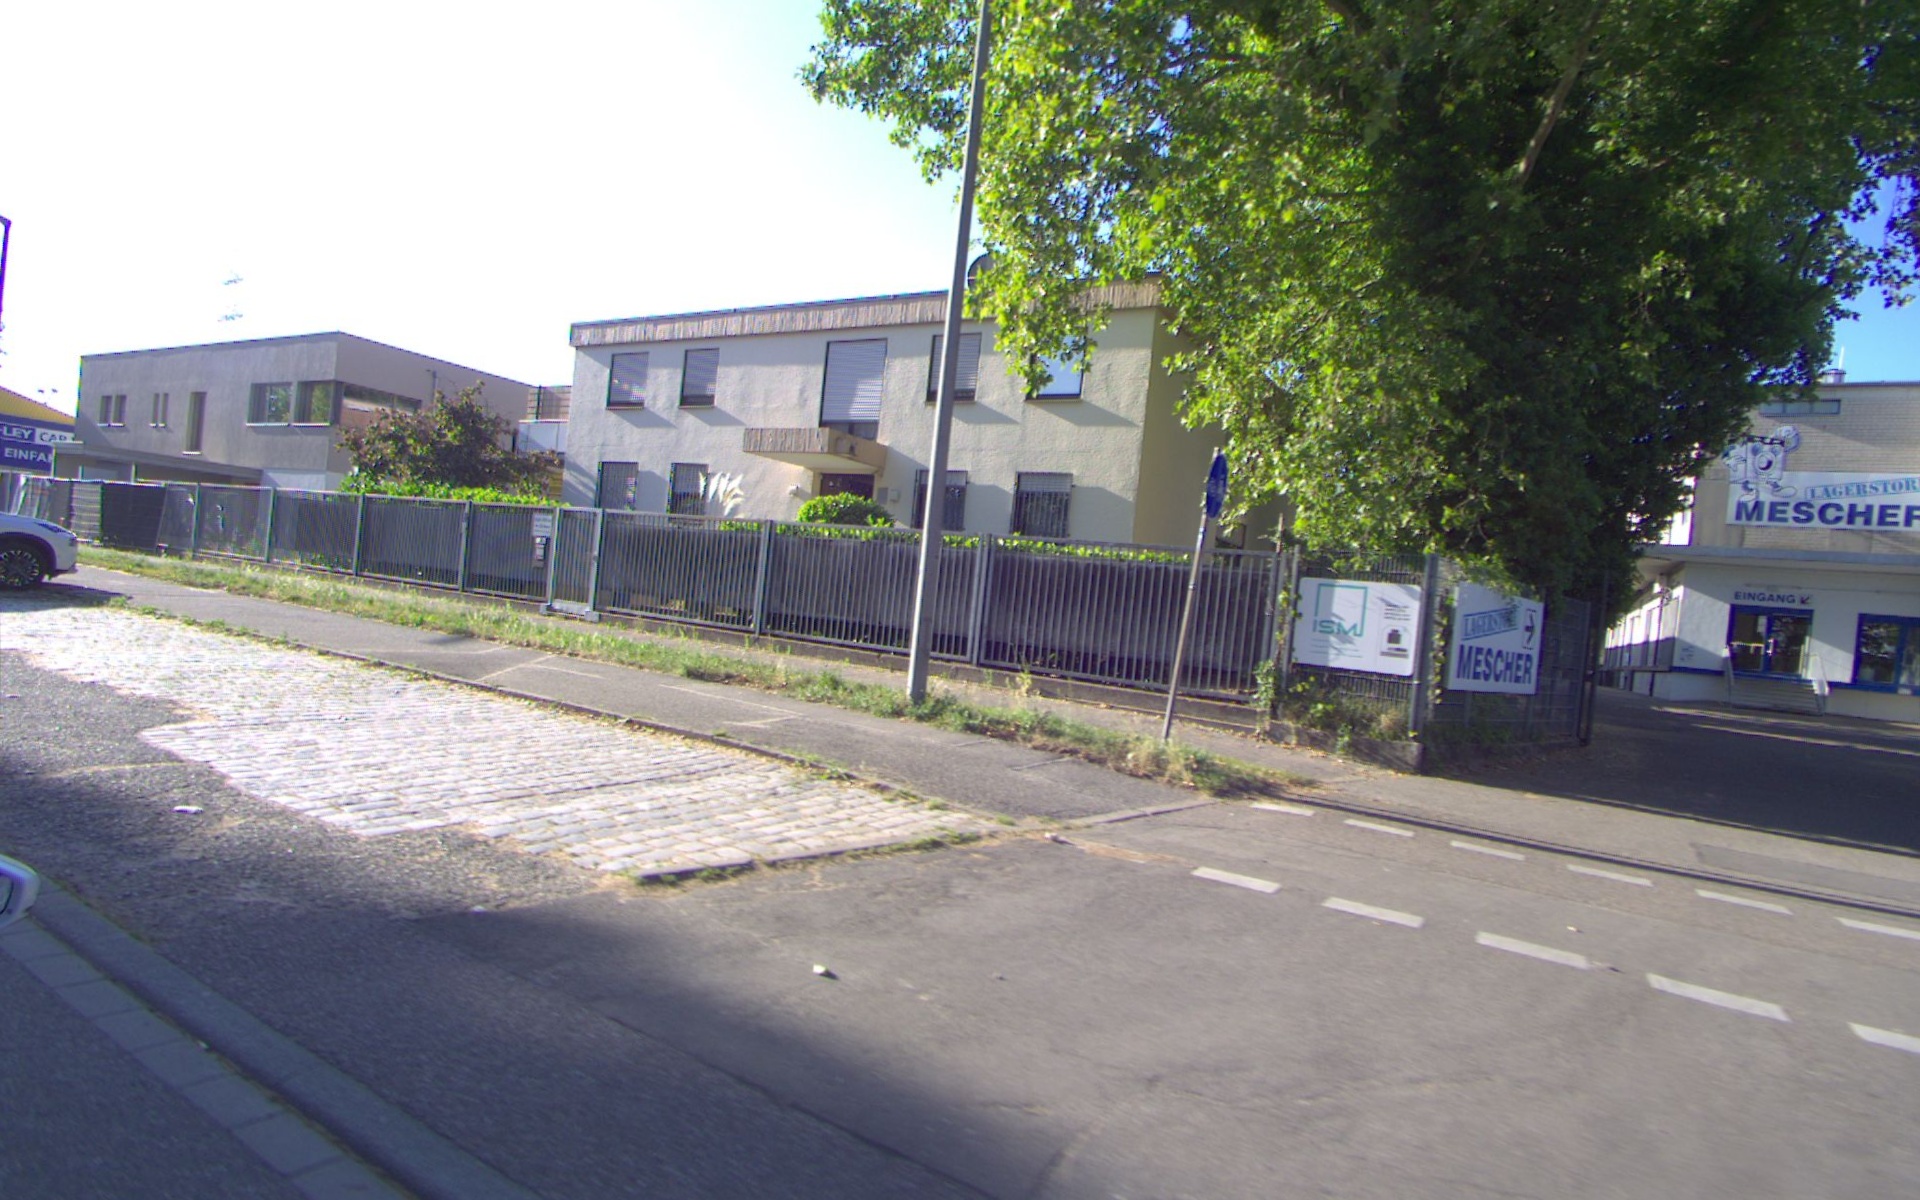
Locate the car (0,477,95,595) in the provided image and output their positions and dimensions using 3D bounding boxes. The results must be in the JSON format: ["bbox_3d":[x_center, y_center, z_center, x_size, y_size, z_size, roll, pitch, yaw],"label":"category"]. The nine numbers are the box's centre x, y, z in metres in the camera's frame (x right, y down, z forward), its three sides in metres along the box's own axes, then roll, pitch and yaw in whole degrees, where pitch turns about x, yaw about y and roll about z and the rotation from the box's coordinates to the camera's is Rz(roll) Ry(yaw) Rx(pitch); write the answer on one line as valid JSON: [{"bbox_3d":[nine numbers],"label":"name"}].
[{"bbox_3d":[-15.666,-1.042,14.369,1.966,1.735,4.626,5,2,29],"label":"car"}]

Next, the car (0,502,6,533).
[{"bbox_3d":[-49.427,-4.350,48.843,1.965,1.514,3.998,5,-3,27],"label":"car"}]
